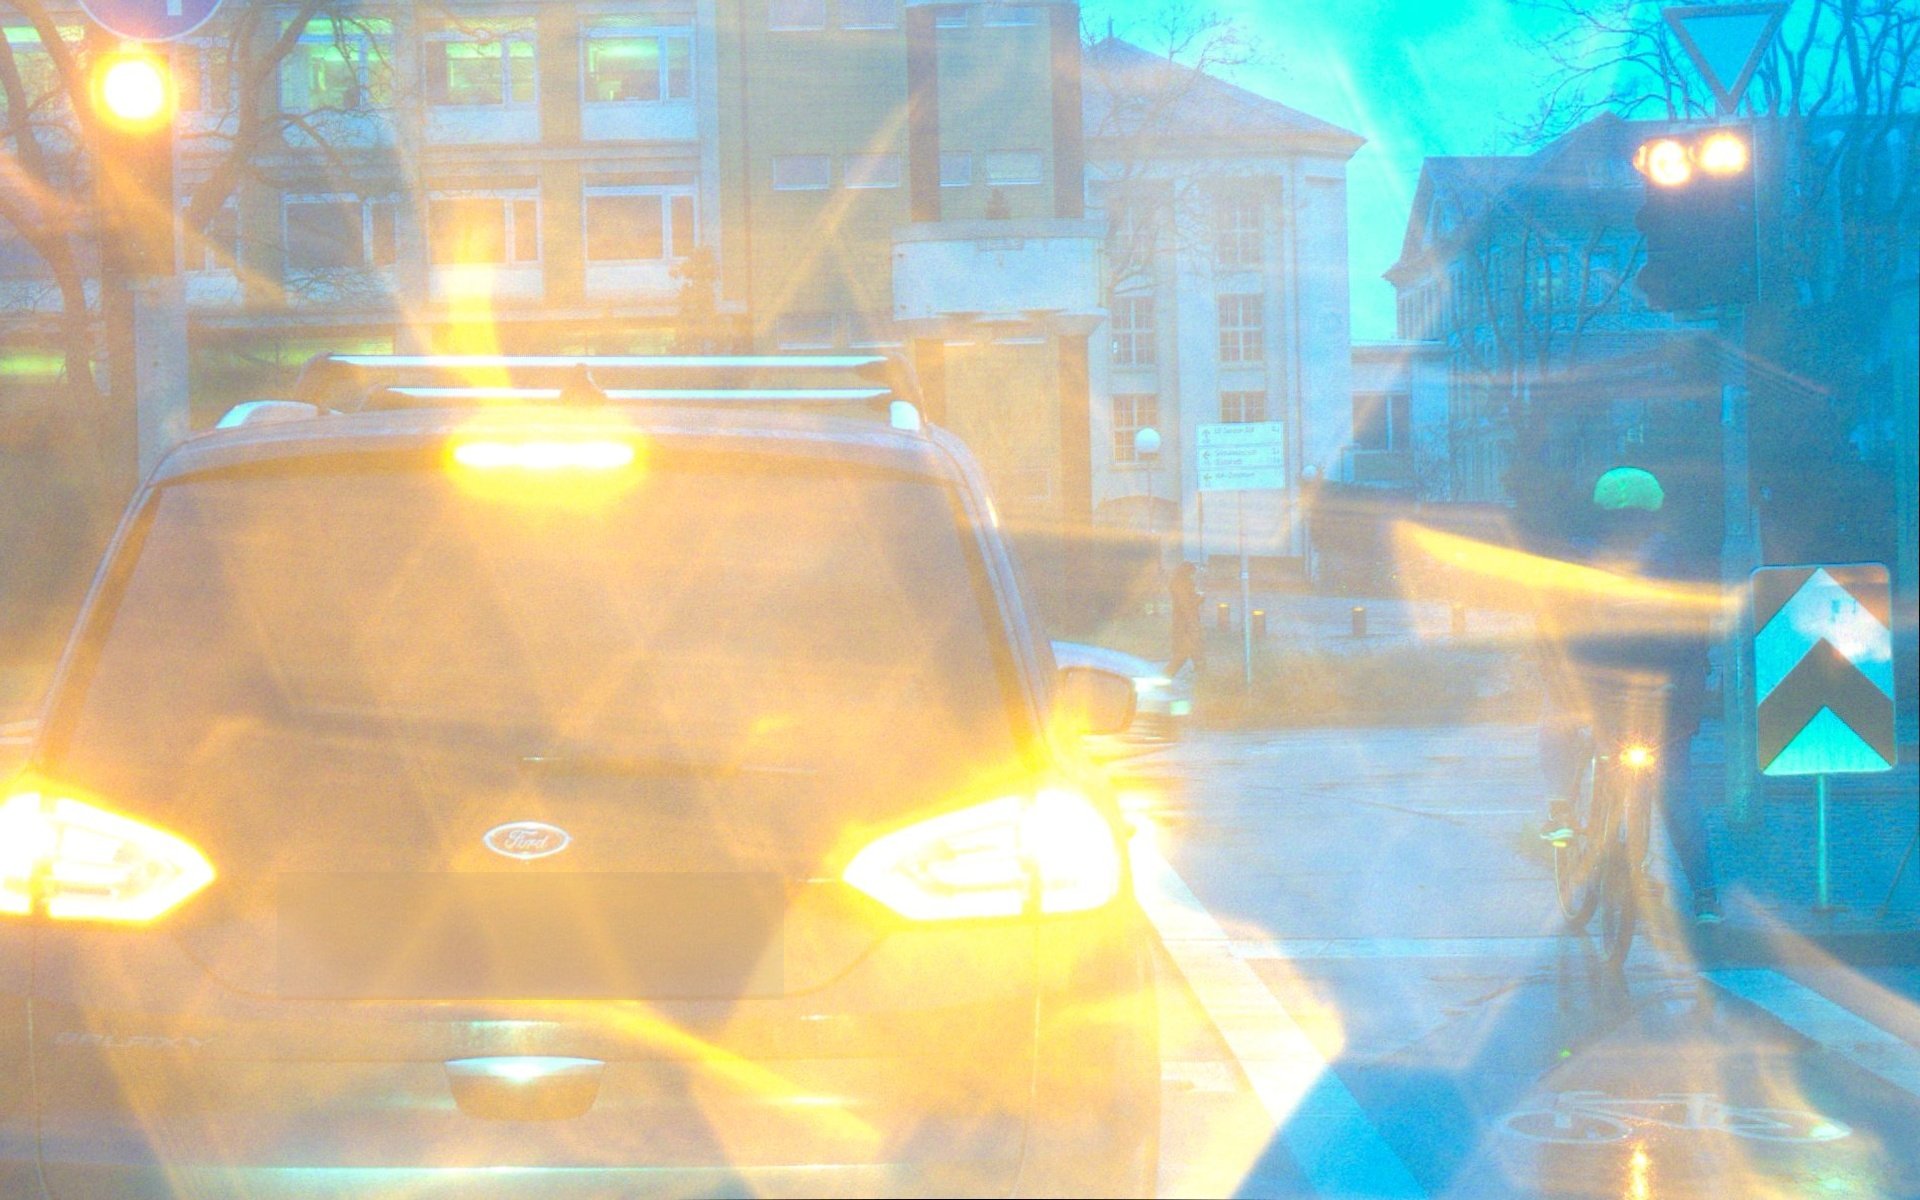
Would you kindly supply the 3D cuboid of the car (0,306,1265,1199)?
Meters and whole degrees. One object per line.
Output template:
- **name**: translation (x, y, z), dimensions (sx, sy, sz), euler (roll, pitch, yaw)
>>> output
- **car**: translation (-0.626, 0.492, 6.561), dimensions (1.993, 1.783, 4.000), euler (1, 1, -1)

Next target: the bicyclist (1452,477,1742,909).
- **bicyclist**: translation (2.231, 0.308, 12.170), dimensions (0.783, 1.448, 1.134), euler (1, 0, -1)

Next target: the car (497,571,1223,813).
- **car**: translation (-0.621, 0.608, 23.406), dimensions (4.657, 1.472, 1.810), euler (-2, 0, 8)

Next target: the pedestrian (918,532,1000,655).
- **pedestrian**: translation (-0.002, -0.096, 44.260), dimensions (0.924, 1.527, 1.043), euler (-2, 1, 4)

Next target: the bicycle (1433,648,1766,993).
- **bicycle**: translation (2.228, 0.735, 12.225), dimensions (0.783, 1.071, 1.957), euler (1, 1, -1)
